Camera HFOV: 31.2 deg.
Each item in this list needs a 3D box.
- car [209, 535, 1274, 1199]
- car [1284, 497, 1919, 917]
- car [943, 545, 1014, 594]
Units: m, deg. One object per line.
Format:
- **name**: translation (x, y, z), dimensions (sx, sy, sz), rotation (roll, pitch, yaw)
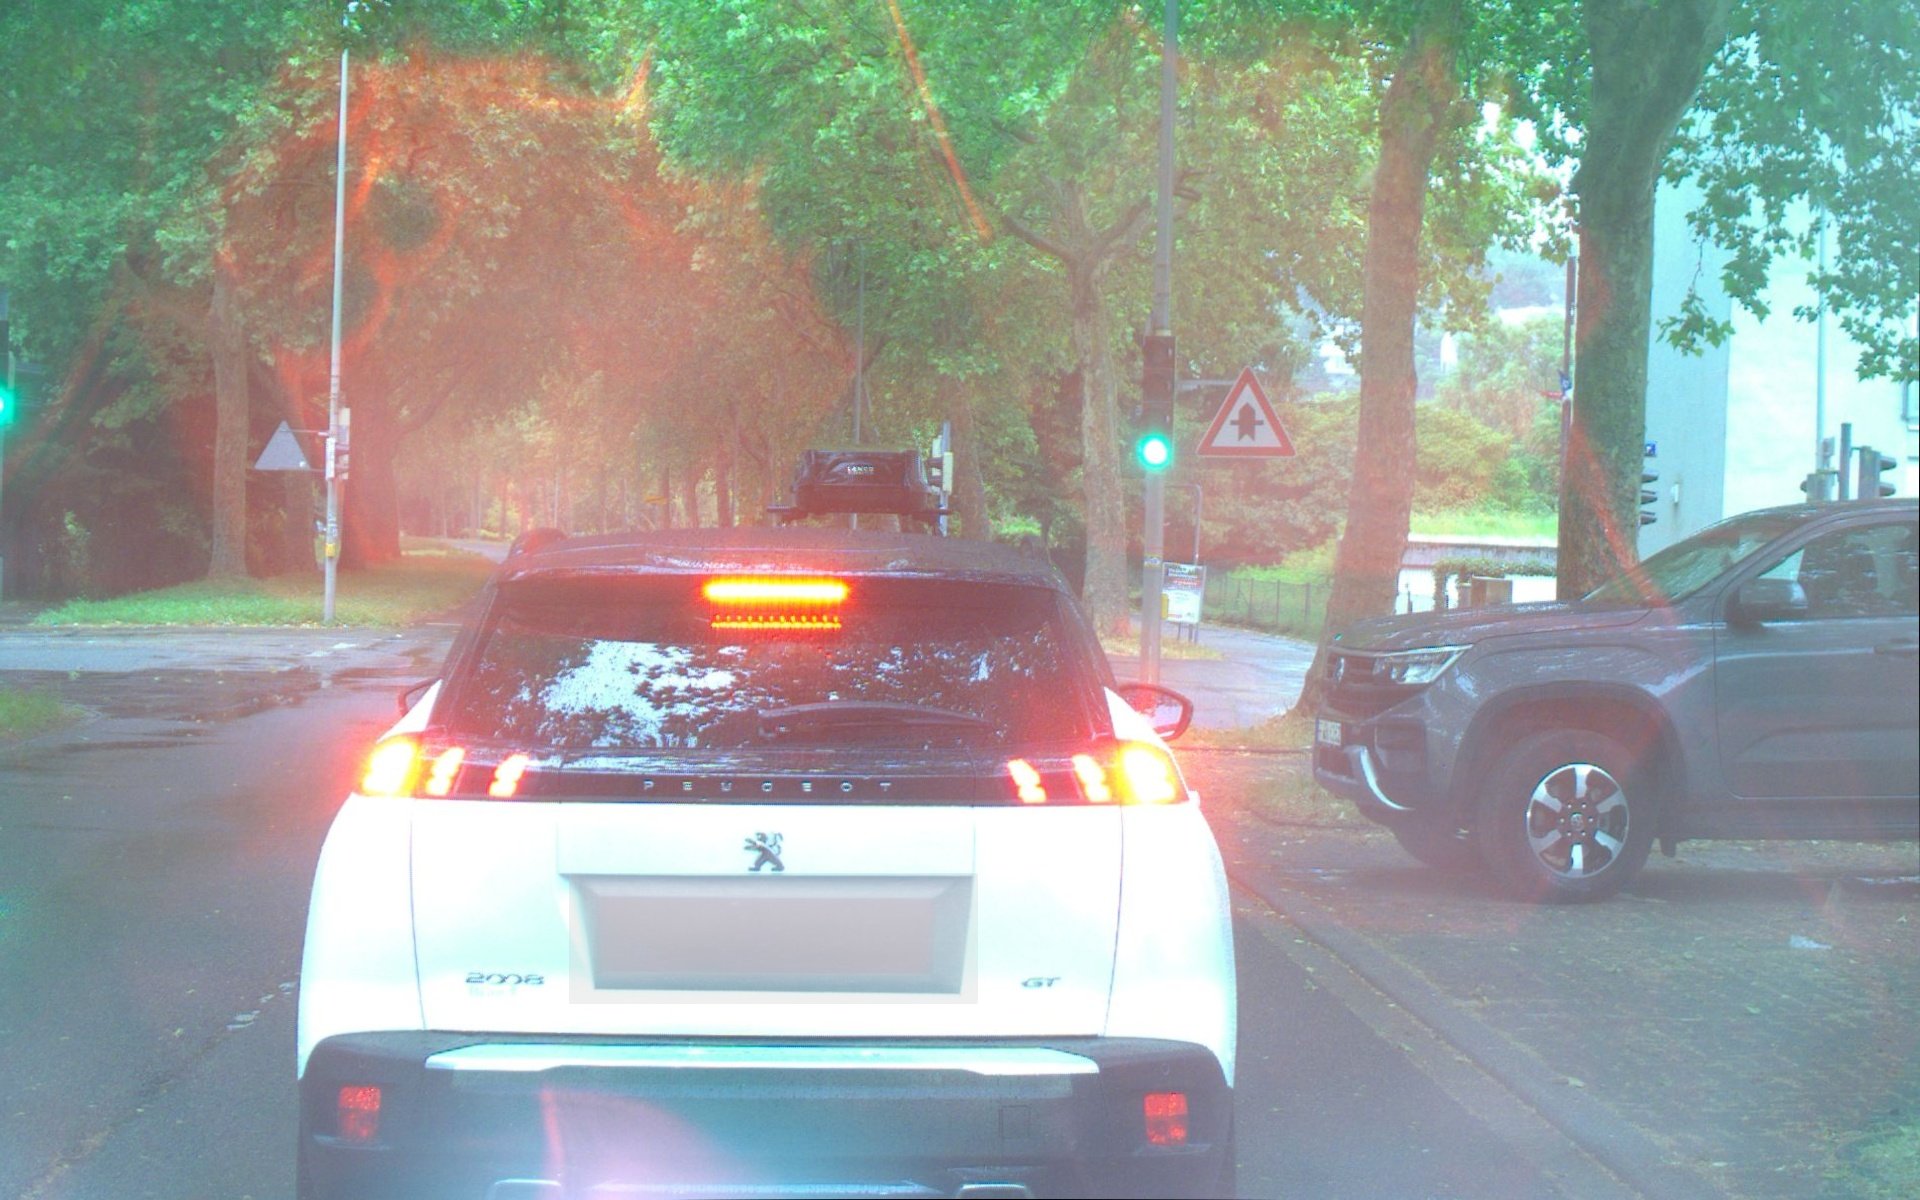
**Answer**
- **car**: translation (-0.409, 0.640, 7.849), dimensions (1.780, 1.531, 4.058), rotation (1, 1, -1)
- **car**: translation (4.331, 0.457, 15.973), dimensions (5.337, 1.800, 1.846), rotation (0, 1, -7)
- **car**: translation (0.582, -1.018, 111.735), dimensions (1.905, 1.504, 3.932), rotation (2, 1, -5)
